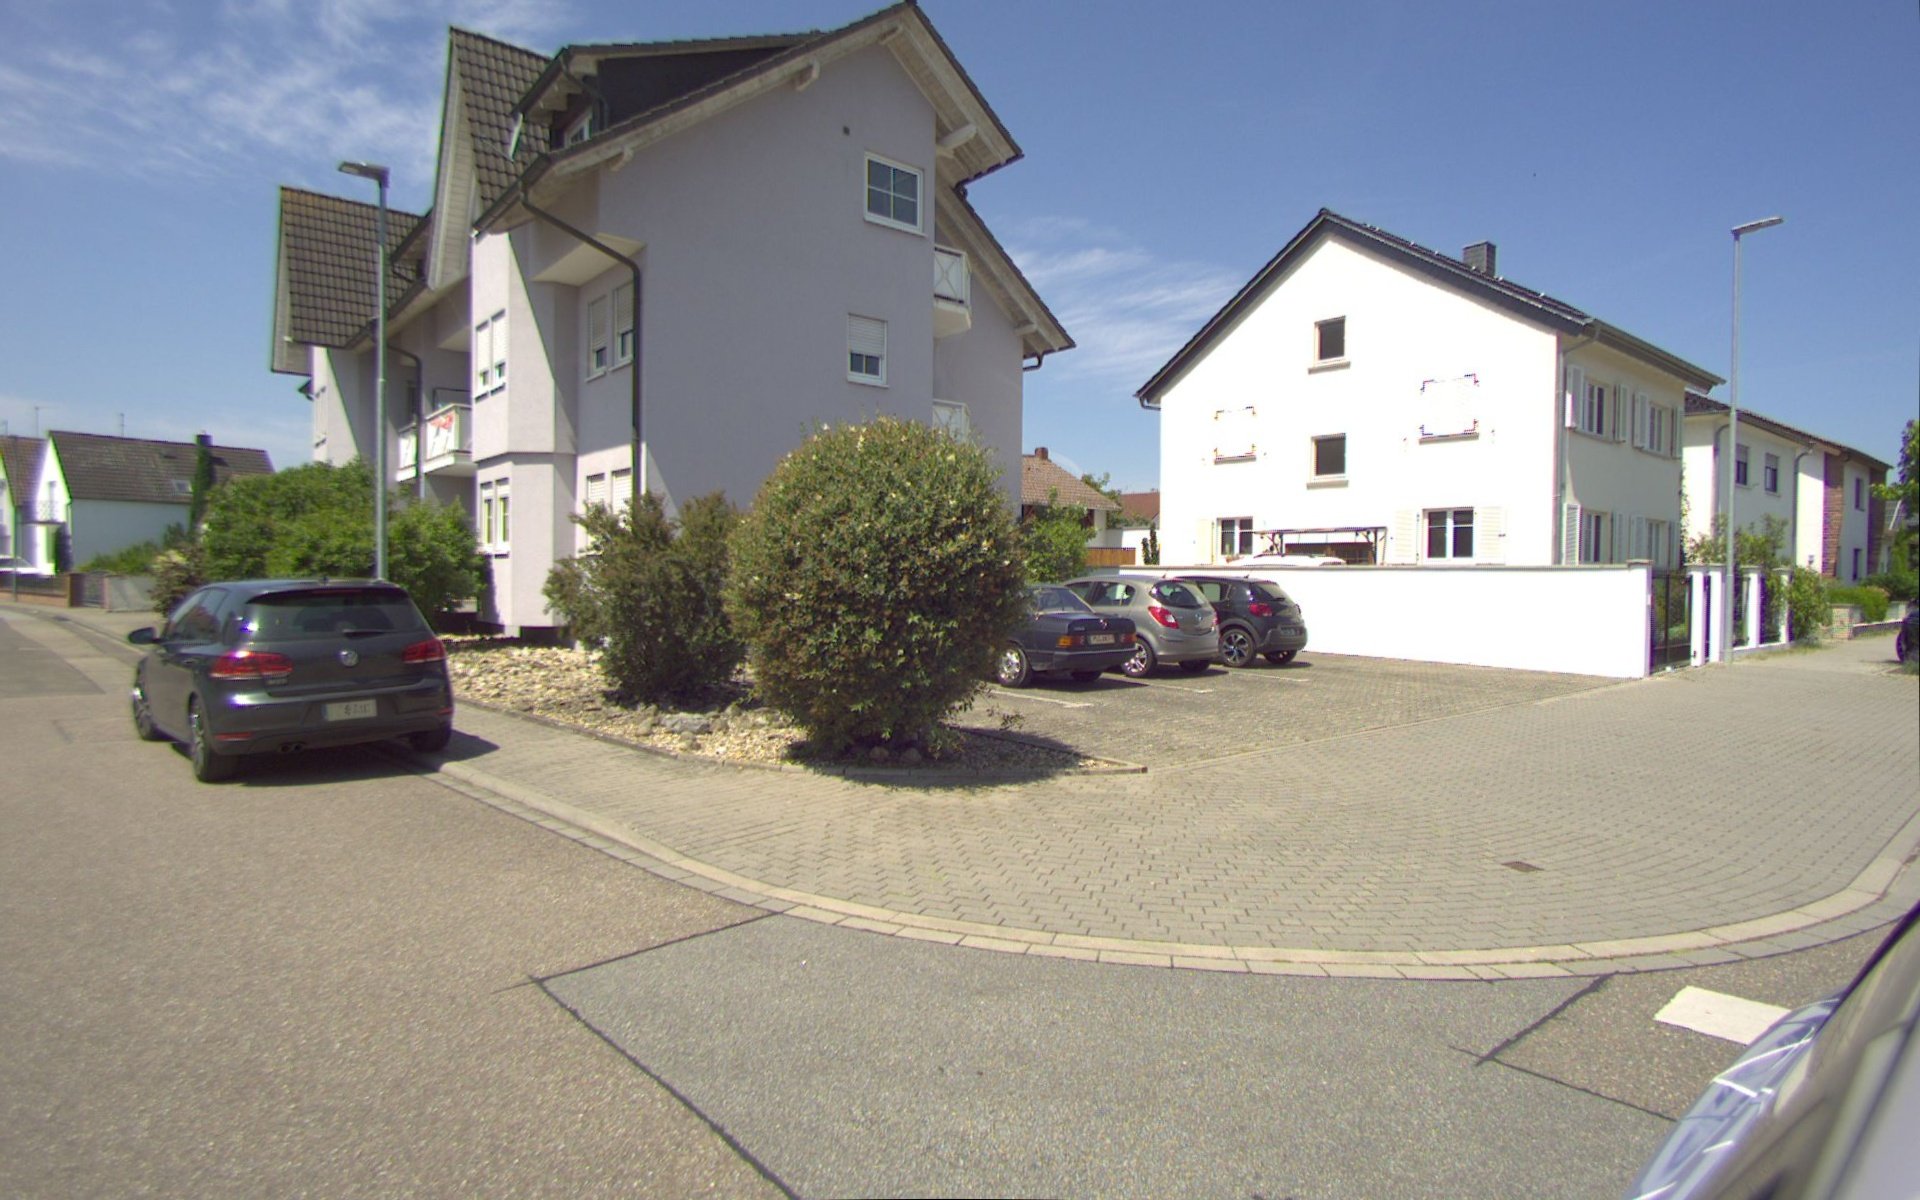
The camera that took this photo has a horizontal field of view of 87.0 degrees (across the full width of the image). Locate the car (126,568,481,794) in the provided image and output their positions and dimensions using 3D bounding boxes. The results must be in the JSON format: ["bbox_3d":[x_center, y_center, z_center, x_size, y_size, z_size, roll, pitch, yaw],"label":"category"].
[{"bbox_3d":[-5.814,0.486,8.758,3.992,1.485,1.729,2,2,44],"label":"car"}]

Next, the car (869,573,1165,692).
[{"bbox_3d":[0.662,0.340,14.237,1.636,1.391,4.206,-1,2,-43],"label":"car"}]

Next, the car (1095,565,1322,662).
[{"bbox_3d":[4.249,0.156,17.619,3.501,1.515,1.638,2,2,45],"label":"car"}]

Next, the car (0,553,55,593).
[{"bbox_3d":[-47.065,-1.343,49.464,4.386,1.900,1.994,1,2,11],"label":"car"}]

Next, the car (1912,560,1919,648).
[{"bbox_3d":[20.631,0.091,20.193,4.483,1.677,1.818,0,2,-40],"label":"car"}]

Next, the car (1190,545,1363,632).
[{"bbox_3d":[7.222,-0.308,23.264,1.740,1.835,3.393,-1,2,-41],"label":"car"}]

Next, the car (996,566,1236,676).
[{"bbox_3d":[2.365,0.239,15.880,1.636,1.513,3.449,-1,2,-43],"label":"car"}]
